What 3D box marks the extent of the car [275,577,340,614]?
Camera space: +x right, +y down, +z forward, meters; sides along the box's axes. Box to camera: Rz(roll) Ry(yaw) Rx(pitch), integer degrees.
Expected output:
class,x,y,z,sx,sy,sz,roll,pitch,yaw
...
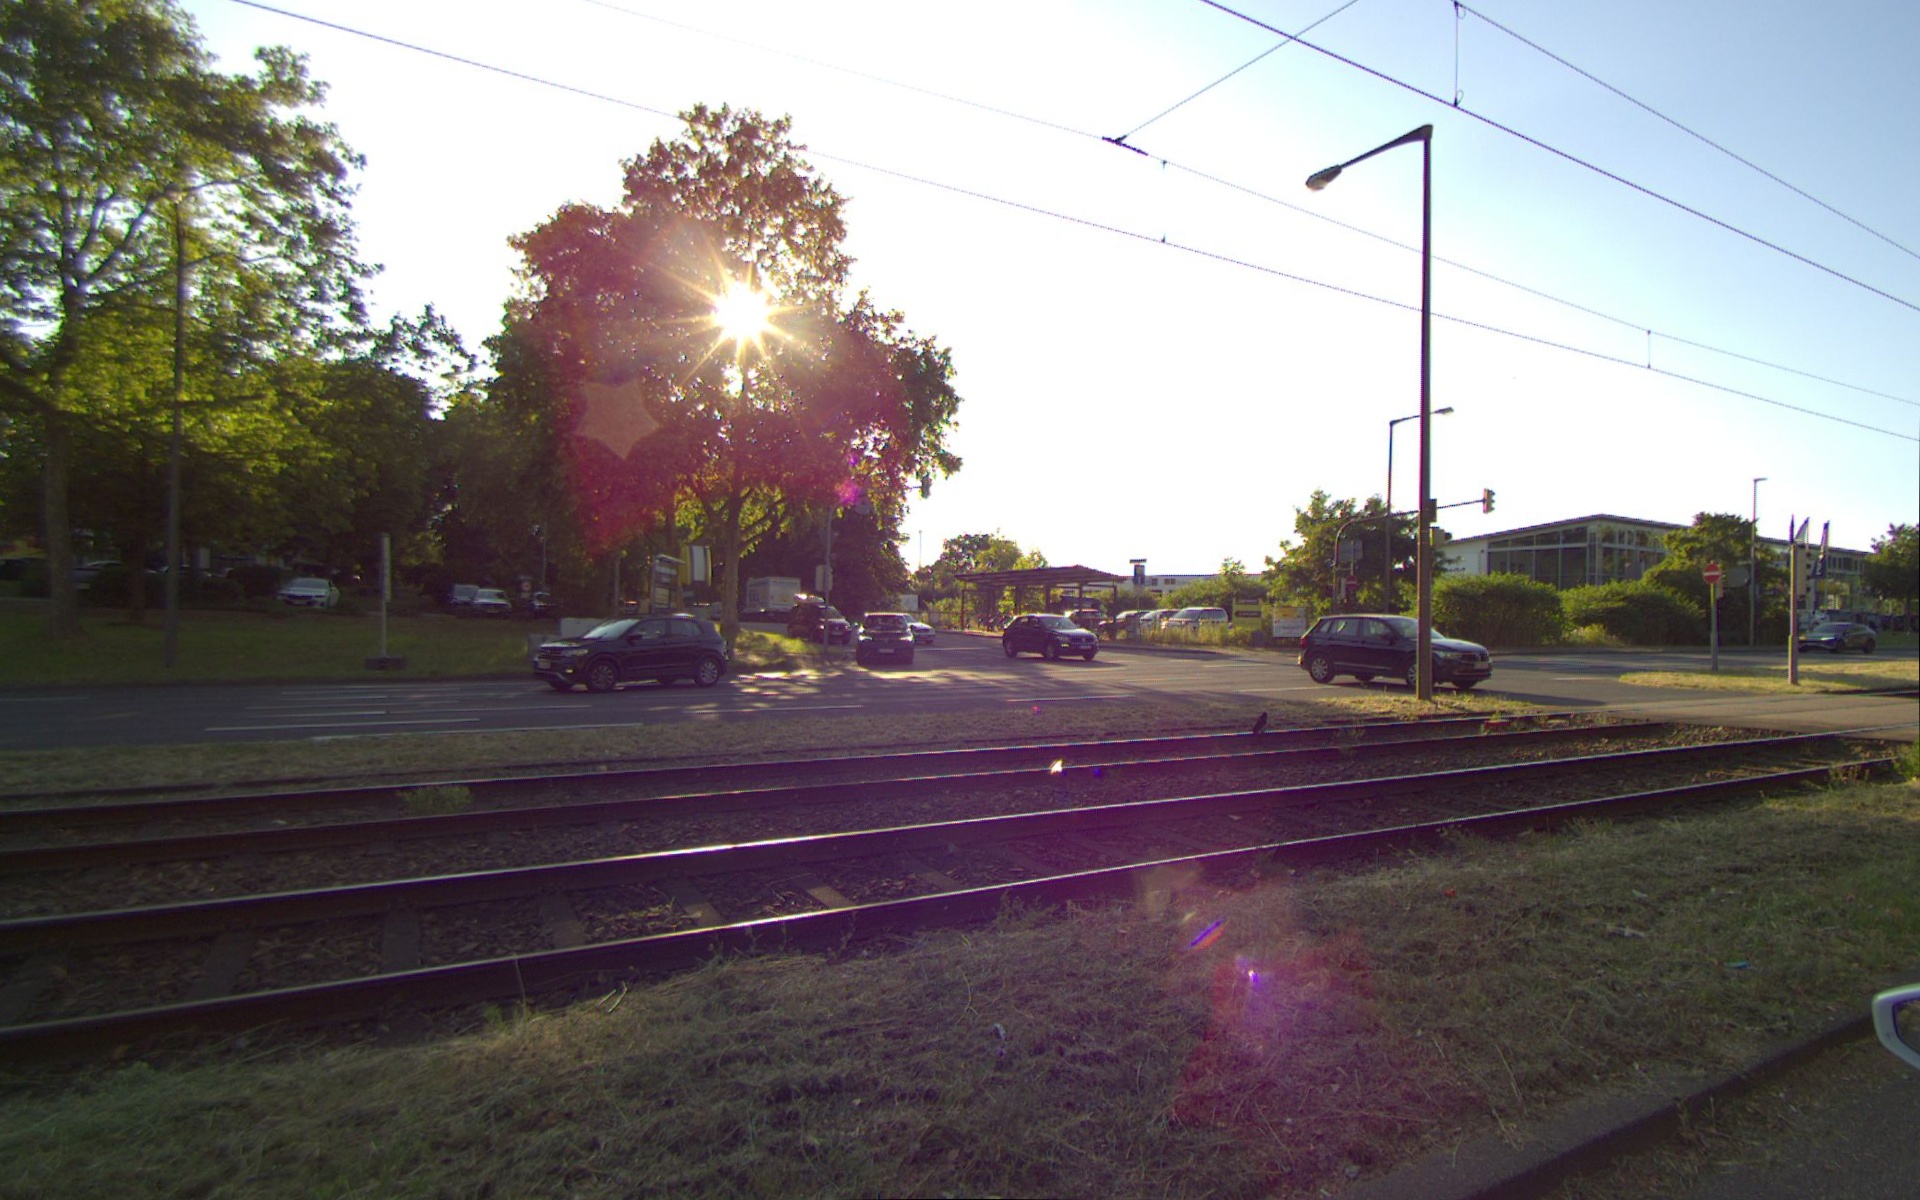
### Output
class,x,y,z,sx,sy,sz,roll,pitch,yaw
car,-29.435,-0.208,45.433,1.916,1.530,4.071,2,0,-26

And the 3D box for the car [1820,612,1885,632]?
class,x,y,z,sx,sy,sz,roll,pitch,yaw
car,74.204,1.828,83.612,3.940,1.577,1.735,1,0,40

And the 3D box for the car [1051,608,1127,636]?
class,x,y,z,sx,sy,sz,roll,pitch,yaw
car,7.713,1.290,59.991,4.123,1.604,1.968,1,0,-30

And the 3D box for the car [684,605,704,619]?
class,x,y,z,sx,sy,sz,roll,pitch,yaw
car,-33.218,1.492,125.467,1.887,1.602,4.036,2,0,-21

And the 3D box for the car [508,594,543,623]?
class,x,y,z,sx,sy,sz,roll,pitch,yaw
car,-26.231,0.513,60.720,1.836,1.637,4.036,2,0,-23

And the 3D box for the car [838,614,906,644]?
class,x,y,z,sx,sy,sz,roll,pitch,yaw
car,-4.222,1.359,47.701,1.597,1.311,3.947,1,-1,-33

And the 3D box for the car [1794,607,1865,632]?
class,x,y,z,sx,sy,sz,roll,pitch,yaw
car,65.176,1.429,75.371,3.940,1.727,1.735,1,0,40

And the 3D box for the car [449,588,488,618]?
class,x,y,z,sx,sy,sz,roll,pitch,yaw
car,-28.576,0.137,58.489,1.836,1.637,4.036,2,0,-23

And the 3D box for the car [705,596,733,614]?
class,x,y,z,sx,sy,sz,roll,pitch,yaw
car,-22.809,0.493,94.973,1.711,1.603,4.028,1,0,-27

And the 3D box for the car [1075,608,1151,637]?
class,x,y,z,sx,sy,sz,roll,pitch,yaw
car,8.817,1.283,57.796,4.123,1.604,1.853,1,0,-30

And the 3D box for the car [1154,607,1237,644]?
class,x,y,z,sx,sy,sz,roll,pitch,yaw
car,12.359,1.325,52.733,4.123,1.846,1.853,1,0,-30

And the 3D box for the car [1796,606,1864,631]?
class,x,y,z,sx,sy,sz,roll,pitch,yaw
car,68.359,1.477,78.983,3.940,1.840,1.735,1,0,40

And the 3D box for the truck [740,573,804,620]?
class,x,y,z,sx,sy,sz,roll,pitch,yaw
truck,-15.051,-0.296,79.785,2.782,3.520,8.291,1,0,-27

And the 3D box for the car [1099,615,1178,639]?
class,x,y,z,sx,sy,sz,roll,pitch,yaw
car,9.936,1.486,55.865,4.123,1.284,1.853,1,0,-30

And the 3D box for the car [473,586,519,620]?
class,x,y,z,sx,sy,sz,roll,pitch,yaw
car,-22.938,0.120,49.584,1.916,1.530,4.071,2,0,-26

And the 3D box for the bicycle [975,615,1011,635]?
class,x,y,z,sx,sy,sz,roll,pitch,yaw
bicycle,1.925,1.453,59.046,2.004,1.119,0.777,2,0,-30

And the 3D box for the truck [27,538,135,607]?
class,x,y,z,sx,sy,sz,roll,pitch,yaw
truck,-44.516,-1.326,51.059,2.468,3.209,6.187,2,0,-26

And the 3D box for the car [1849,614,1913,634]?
class,x,y,z,sx,sy,sz,roll,pitch,yaw
car,79.609,2.048,86.893,3.940,1.577,1.735,1,0,40

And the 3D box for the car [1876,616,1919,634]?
class,x,y,z,sx,sy,sz,roll,pitch,yaw
car,84.908,2.258,90.004,1.726,1.576,3.960,1,0,-35

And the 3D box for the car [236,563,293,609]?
class,x,y,z,sx,sy,sz,roll,pitch,yaw
car,-37.300,-0.738,54.002,2.138,2.334,4.369,2,0,-31

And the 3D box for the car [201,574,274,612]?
class,x,y,z,sx,sy,sz,roll,pitch,yaw
car,-32.116,-0.308,44.751,1.916,1.530,4.071,2,0,-26

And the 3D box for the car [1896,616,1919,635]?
class,x,y,z,sx,sy,sz,roll,pitch,yaw
car,88.378,2.367,91.744,1.725,1.642,3.962,1,0,-34

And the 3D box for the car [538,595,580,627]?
class,x,y,z,sx,sy,sz,roll,pitch,yaw
car,-20.443,0.531,51.133,1.604,1.477,3.878,2,0,-27

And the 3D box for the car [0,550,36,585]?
class,x,y,z,sx,sy,sz,roll,pitch,yaw
car,-53.863,-1.865,56.375,2.274,1.875,5.220,2,0,-36

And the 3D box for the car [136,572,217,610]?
class,x,y,z,sx,sy,sz,roll,pitch,yaw
car,-33.959,-0.381,43.679,1.916,1.530,4.071,2,0,-26

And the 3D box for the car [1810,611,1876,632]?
class,x,y,z,sx,sy,sz,roll,pitch,yaw
car,71.985,1.732,81.944,3.940,1.577,1.735,1,0,40

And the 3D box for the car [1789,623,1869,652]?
class,x,y,z,sx,sy,sz,roll,pitch,yaw
car,48.644,2.079,56.233,4.114,1.501,1.857,1,0,-25

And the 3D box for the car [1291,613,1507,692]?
class,x,y,z,sx,sy,sz,roll,pitch,yaw
car,10.037,1.164,23.313,1.857,1.656,4.334,1,-2,-31

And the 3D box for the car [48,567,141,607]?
class,x,y,z,sx,sy,sz,roll,pitch,yaw
car,-36.090,-0.542,42.015,1.916,1.530,4.071,2,0,-26

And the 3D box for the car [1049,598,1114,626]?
class,x,y,z,sx,sy,sz,roll,pitch,yaw
car,9.283,0.933,76.662,4.715,2.041,1.853,1,0,-30

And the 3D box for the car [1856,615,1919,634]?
class,x,y,z,sx,sy,sz,roll,pitch,yaw
car,81.762,2.136,88.511,1.728,1.577,3.957,1,0,-37

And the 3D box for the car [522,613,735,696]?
class,x,y,z,sx,sy,sz,roll,pitch,yaw
car,-6.886,1.093,21.182,1.731,1.578,3.954,-1,-2,40

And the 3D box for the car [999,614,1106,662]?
class,x,y,z,sx,sy,sz,roll,pitch,yaw
car,3.176,1.280,35.337,1.692,1.581,4.133,1,-1,-30

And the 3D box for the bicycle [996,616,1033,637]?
class,x,y,z,sx,sy,sz,roll,pitch,yaw
bicycle,3.066,1.475,56.409,2.004,1.119,0.777,2,0,-30

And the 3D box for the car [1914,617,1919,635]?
class,x,y,z,sx,sy,sz,roll,pitch,yaw
car,91.293,2.483,93.023,1.725,1.642,3.962,1,0,-34

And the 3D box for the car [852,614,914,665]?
class,x,y,z,sx,sy,sz,roll,pitch,yaw
car,-2.642,1.298,33.688,1.705,1.565,4.327,1,-2,-9

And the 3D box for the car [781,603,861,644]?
class,x,y,z,sx,sy,sz,roll,pitch,yaw
car,-6.191,1.020,44.435,1.824,1.656,4.270,1,0,-34
